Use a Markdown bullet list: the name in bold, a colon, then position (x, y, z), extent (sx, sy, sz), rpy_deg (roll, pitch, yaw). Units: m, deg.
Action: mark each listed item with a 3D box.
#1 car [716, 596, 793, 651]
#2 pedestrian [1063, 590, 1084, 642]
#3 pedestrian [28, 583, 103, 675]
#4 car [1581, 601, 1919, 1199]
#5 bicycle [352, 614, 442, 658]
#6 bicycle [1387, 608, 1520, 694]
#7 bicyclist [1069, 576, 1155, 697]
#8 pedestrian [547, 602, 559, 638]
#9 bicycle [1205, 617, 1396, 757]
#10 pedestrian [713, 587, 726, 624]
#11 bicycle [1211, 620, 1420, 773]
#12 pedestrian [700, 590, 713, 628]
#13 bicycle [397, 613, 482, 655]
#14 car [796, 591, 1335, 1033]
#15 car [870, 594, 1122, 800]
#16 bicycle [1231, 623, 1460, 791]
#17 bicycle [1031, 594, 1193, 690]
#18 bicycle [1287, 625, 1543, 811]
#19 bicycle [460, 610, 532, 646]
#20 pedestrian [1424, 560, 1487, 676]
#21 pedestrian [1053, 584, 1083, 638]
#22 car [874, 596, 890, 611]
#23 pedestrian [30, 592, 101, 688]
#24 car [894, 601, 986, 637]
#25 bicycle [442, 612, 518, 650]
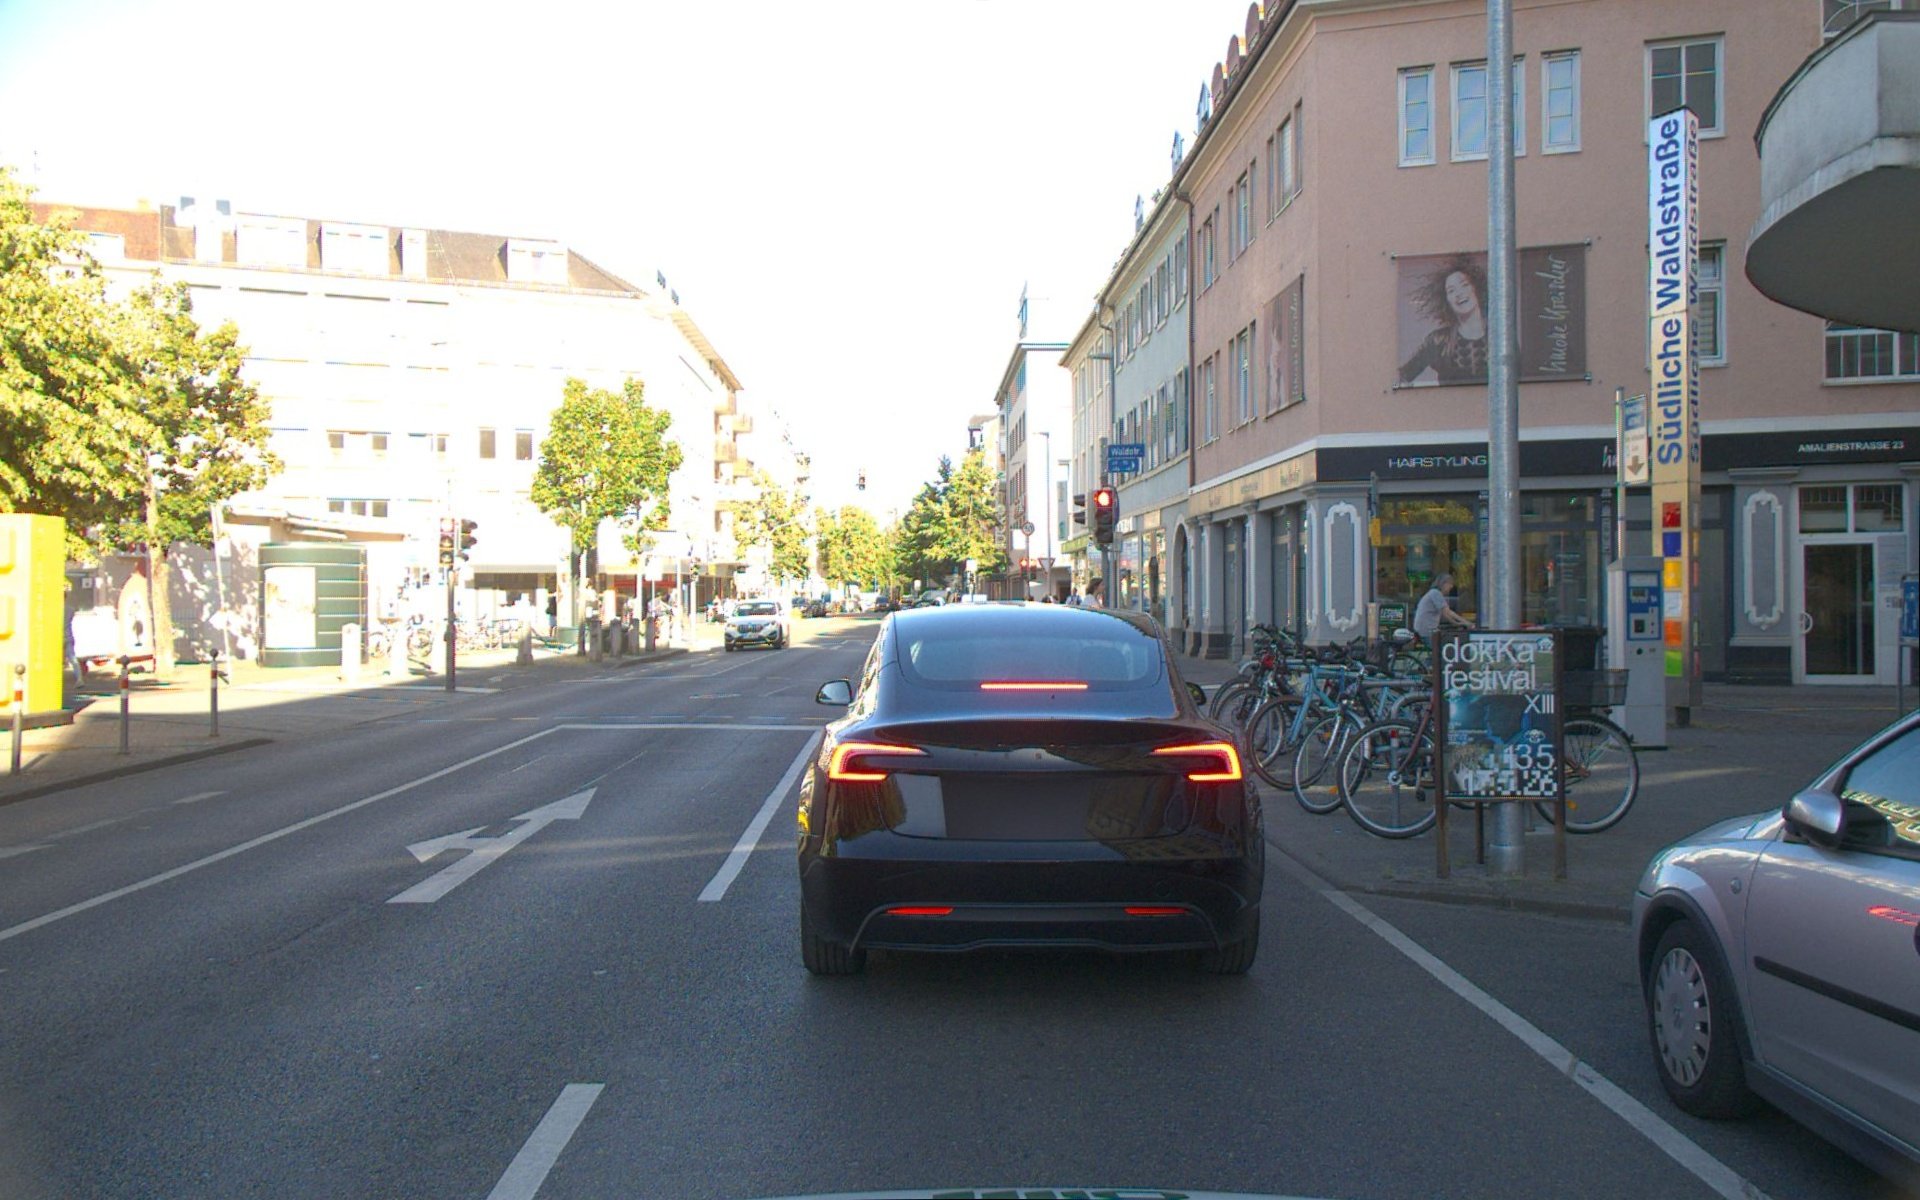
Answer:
- **car**: position (-6.576, 0.719, 53.367), extent (1.953, 1.567, 3.999), rpy_deg (-4, 0, -1)
- **pedestrian**: position (3.989, 0.560, 58.197), extent (0.689, 1.814, 0.533), rpy_deg (0, 0, -1)
- **pedestrian**: position (-16.434, 0.530, 30.408), extent (0.966, 1.665, 0.737), rpy_deg (0, 0, 3)
- **car**: position (2.910, 0.719, 3.694), extent (1.588, 1.419, 3.886), rpy_deg (0, 0, 0)
- **bicycle**: position (-14.457, 0.922, 42.495), extent (2.040, 1.123, 0.806), rpy_deg (0, 0, -1)
- **bicycle**: position (6.323, 0.641, 21.261), extent (1.581, 1.063, 0.591), rpy_deg (1, 0, 12)
- **bicyclist**: position (2.075, 0.483, 22.575), extent (1.074, 1.617, 0.629), rpy_deg (0, 0, 15)
- **pedestrian**: position (-15.159, 0.742, 61.608), extent (0.412, 1.363, 0.393), rpy_deg (0, 0, -8)
- **bicycle**: position (3.044, 0.773, 14.838), extent (1.594, 1.180, 0.433), rpy_deg (-2, 0, 0)
- **pedestrian**: position (-13.164, 0.300, 90.604), extent (0.613, 2.049, 0.575), rpy_deg (0, 0, -1)
- **bicycle**: position (2.926, 0.786, 13.668), extent (1.595, 1.180, 0.432), rpy_deg (-2, 0, -2)
- **pedestrian**: position (-13.883, 0.481, 90.699), extent (0.613, 2.049, 0.707), rpy_deg (0, 0, -1)
- **bicycle**: position (-14.163, 0.909, 45.020), extent (2.040, 1.123, 0.806), rpy_deg (0, 0, -1)
- **car**: position (0.356, 0.709, 7.455), extent (1.812, 1.480, 3.786), rpy_deg (0, 0, 0)
- **car**: position (0.261, 0.694, 13.800), extent (1.812, 1.480, 3.786), rpy_deg (0, 0, 0)
- **bicycle**: position (2.896, 0.796, 12.474), extent (1.595, 1.180, 0.432), rpy_deg (-2, 0, -2)
- **bicycle**: position (2.078, 0.575, 22.566), extent (2.080, 1.221, 0.629), rpy_deg (-3, -1, 15)
- **bicycle**: position (3.097, 0.791, 11.310), extent (1.595, 1.180, 0.432), rpy_deg (-2, 0, -2)
- **bicycle**: position (-14.574, 0.884, 51.982), extent (2.040, 1.123, 0.806), rpy_deg (0, 0, -1)
- **pedestrian**: position (6.365, 0.225, 21.270), extent (0.727, 1.466, 0.583), rpy_deg (1, 0, 12)
- **pedestrian**: position (3.799, 0.371, 58.137), extent (0.979, 1.883, 0.615), rpy_deg (0, 0, -1)
- **car**: position (-9.068, 0.408, 192.375), extent (1.793, 1.754, 3.998), rpy_deg (0, 0, -2)
- **pedestrian**: position (-16.475, 0.724, 30.484), extent (0.882, 1.755, 0.744), rpy_deg (0, 0, 3)
- **car**: position (-1.044, 0.947, 84.378), extent (4.573, 1.757, 2.044), rpy_deg (0, 0, 43)
- **bicycle**: position (-14.431, 0.925, 49.790), extent (2.040, 1.123, 0.806), rpy_deg (0, 0, -1)
